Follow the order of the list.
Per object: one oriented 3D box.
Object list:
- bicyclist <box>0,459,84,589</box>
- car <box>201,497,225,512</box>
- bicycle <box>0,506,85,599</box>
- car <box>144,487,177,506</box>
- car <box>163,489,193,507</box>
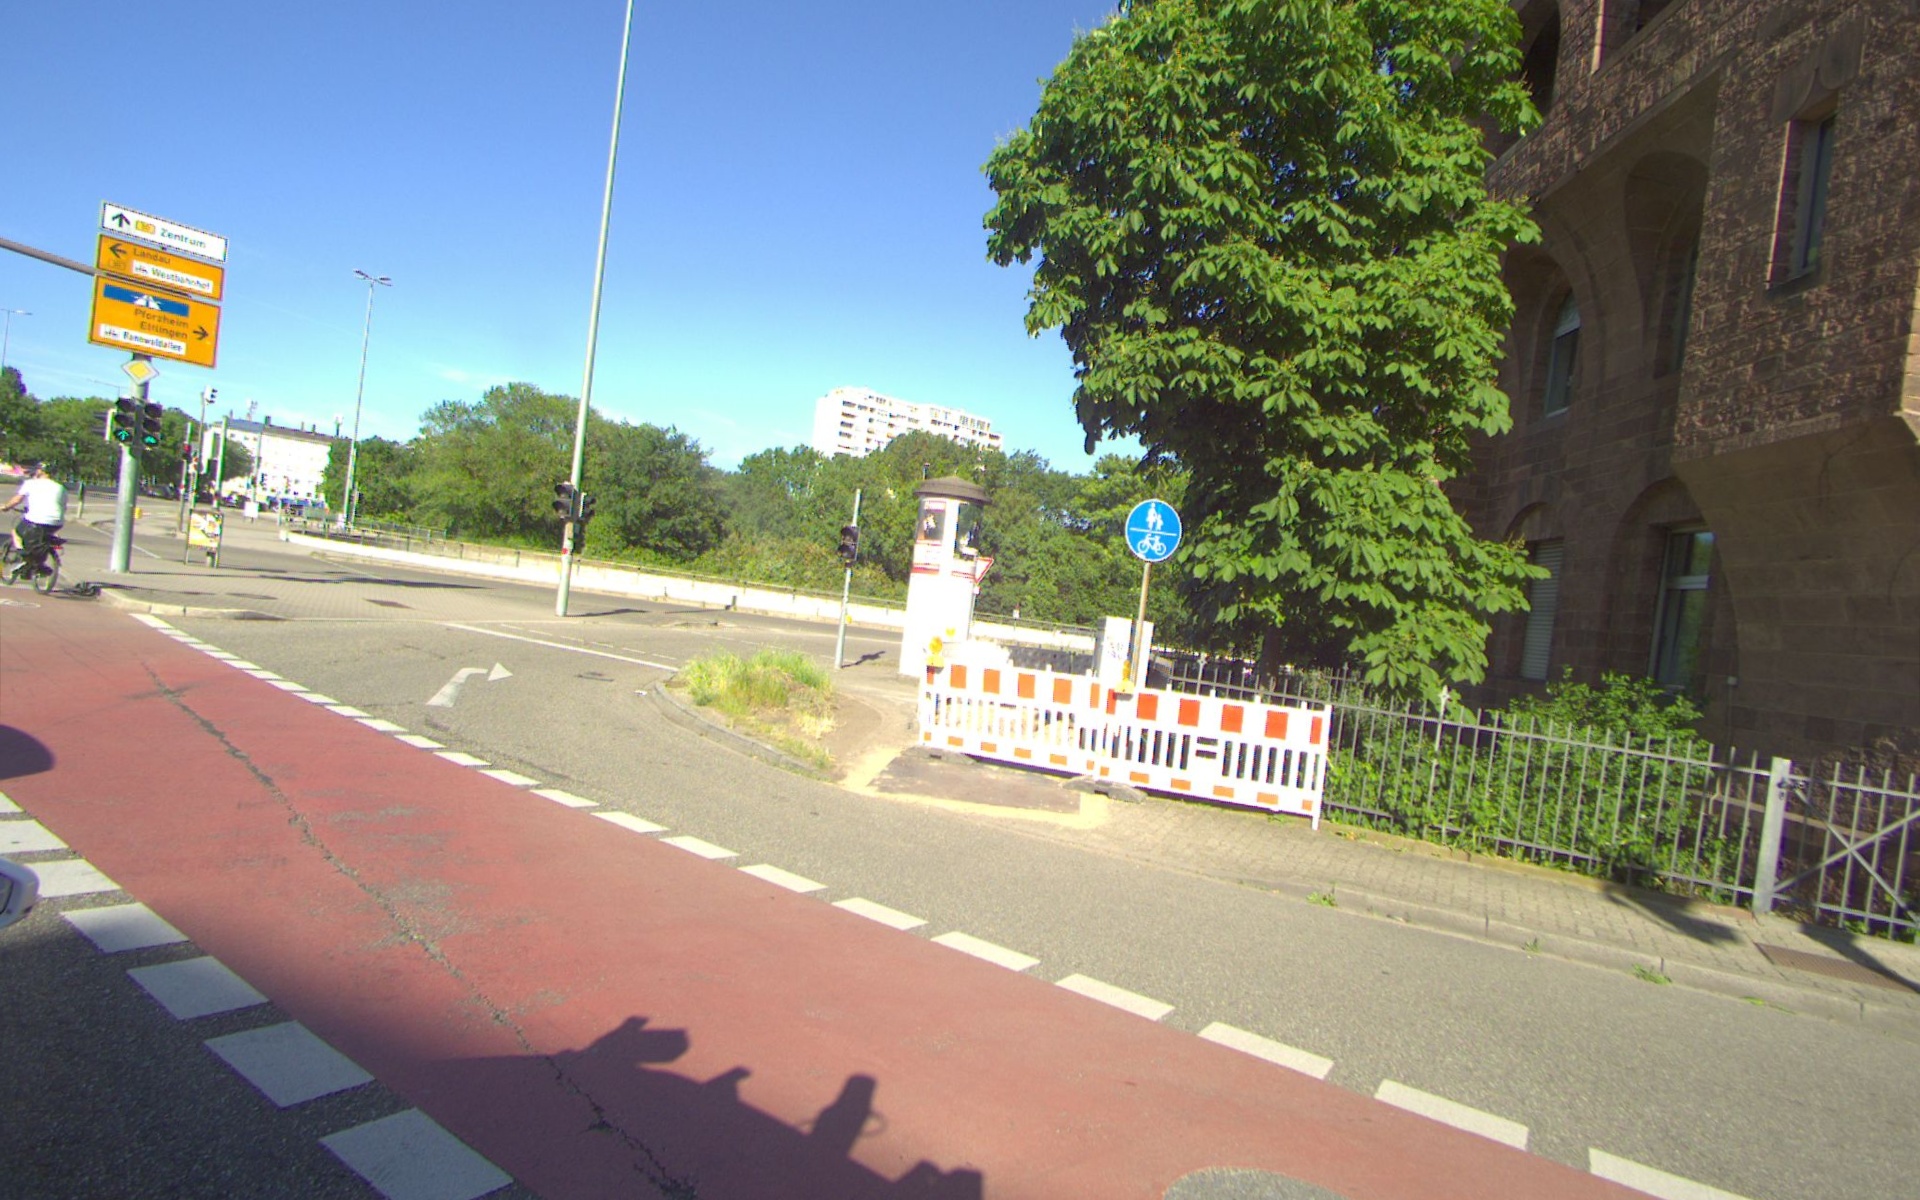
[{"bbox_3d":[-13.183,-1.084,14.275,1.095,1.680,0.725,9,1,33],"label":"bicyclist"},{"bbox_3d":[-99.969,-12.788,134.619,1.930,1.547,4.065,7,0,-29],"label":"car"},{"bbox_3d":[-13.243,-0.700,14.281,1.796,1.115,0.692,8,0,33],"label":"bicycle"},{"bbox_3d":[-82.745,-10.668,104.175,1.931,1.547,4.064,7,0,-30],"label":"car"},{"bbox_3d":[-85.779,-11.134,110.375,1.930,1.547,4.065,7,0,-29],"label":"car"}]
